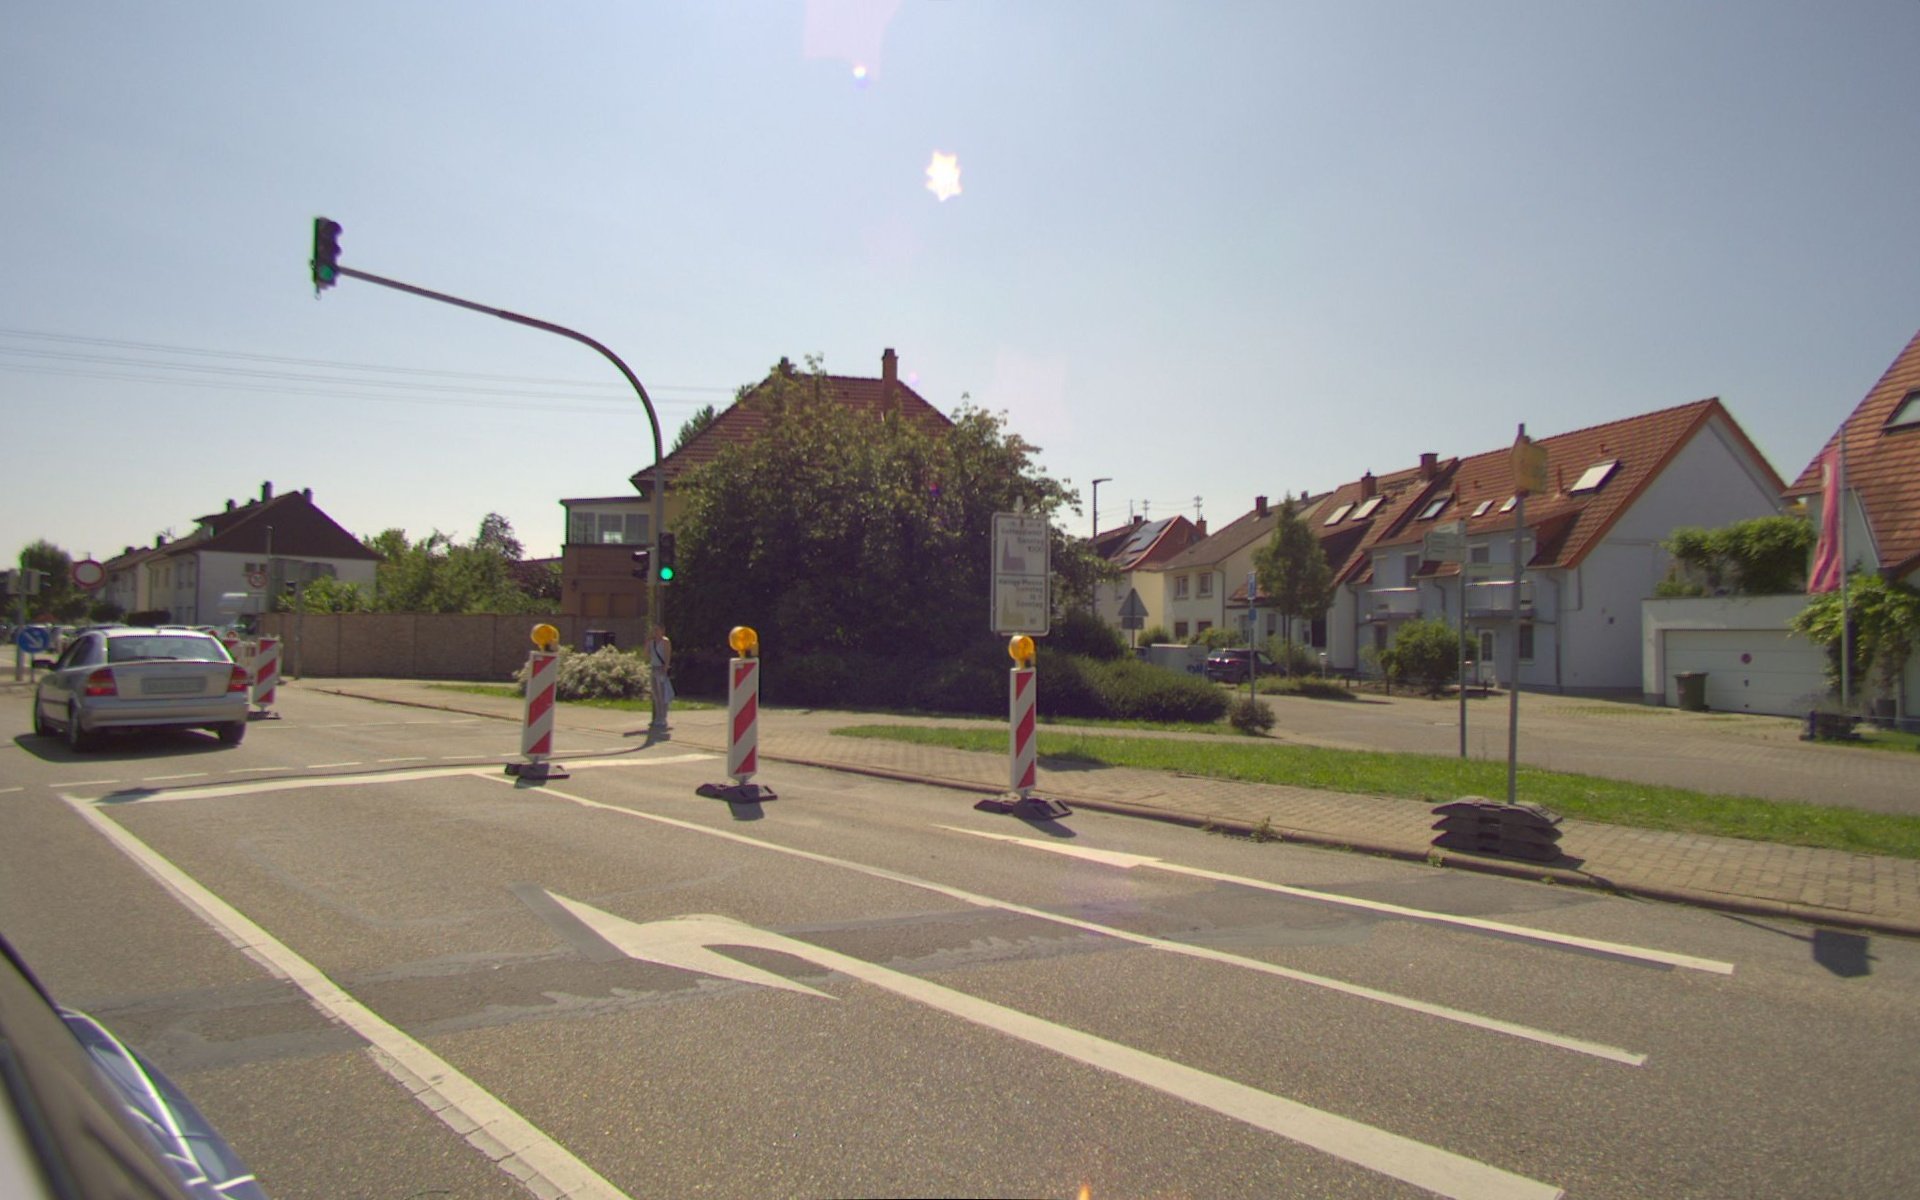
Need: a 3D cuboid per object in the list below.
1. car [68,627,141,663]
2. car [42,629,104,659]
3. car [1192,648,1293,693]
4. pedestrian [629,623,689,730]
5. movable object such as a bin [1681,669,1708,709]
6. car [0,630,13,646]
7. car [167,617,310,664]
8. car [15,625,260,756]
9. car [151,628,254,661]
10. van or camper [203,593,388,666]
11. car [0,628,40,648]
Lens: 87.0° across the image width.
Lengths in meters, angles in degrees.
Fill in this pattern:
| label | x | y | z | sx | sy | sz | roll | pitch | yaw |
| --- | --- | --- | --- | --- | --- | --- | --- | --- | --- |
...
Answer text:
| label | x | y | z | sx | sy | sz | roll | pitch | yaw |
| --- | --- | --- | --- | --- | --- | --- | --- | --- | --- |
| car | -39.918 | 2.082 | 47.184 | 4.225 | 1.603 | 1.839 | -1 | -4 | 40 |
| car | -48.871 | 2.402 | 55.717 | 4.542 | 1.559 | 1.839 | -1 | -4 | 40 |
| car | 10.425 | 2.532 | 37.218 | 3.940 | 1.472 | 1.805 | 1 | -2 | -44 |
| pedestrian | -4.770 | 1.189 | 16.055 | 0.688 | 1.620 | 0.607 | -2 | 0 | 42 |
| movable object such as a bin | 20.282 | 2.463 | 27.945 | 0.562 | 1.070 | 0.395 | -1 | -3 | 35 |
| car | -84.926 | 3.319 | 89.150 | 3.914 | 1.428 | 1.717 | -1 | -3 | 40 |
| car | -34.527 | 1.931 | 48.592 | 2.207 | 2.104 | 5.119 | -1 | -3 | 35 |
| car | -10.562 | 1.040 | 12.907 | 3.976 | 1.414 | 1.682 | -1 | -3 | 40 |
| car | -39.367 | 2.299 | 52.676 | 1.765 | 1.629 | 3.951 | -1 | -3 | 36 |
| van or camper | -28.306 | 1.283 | 43.375 | 2.284 | 2.866 | 6.192 | -1 | -2 | 33 |
| car | -70.591 | 2.845 | 75.954 | 3.914 | 1.525 | 1.717 | -1 | -3 | 40 |
